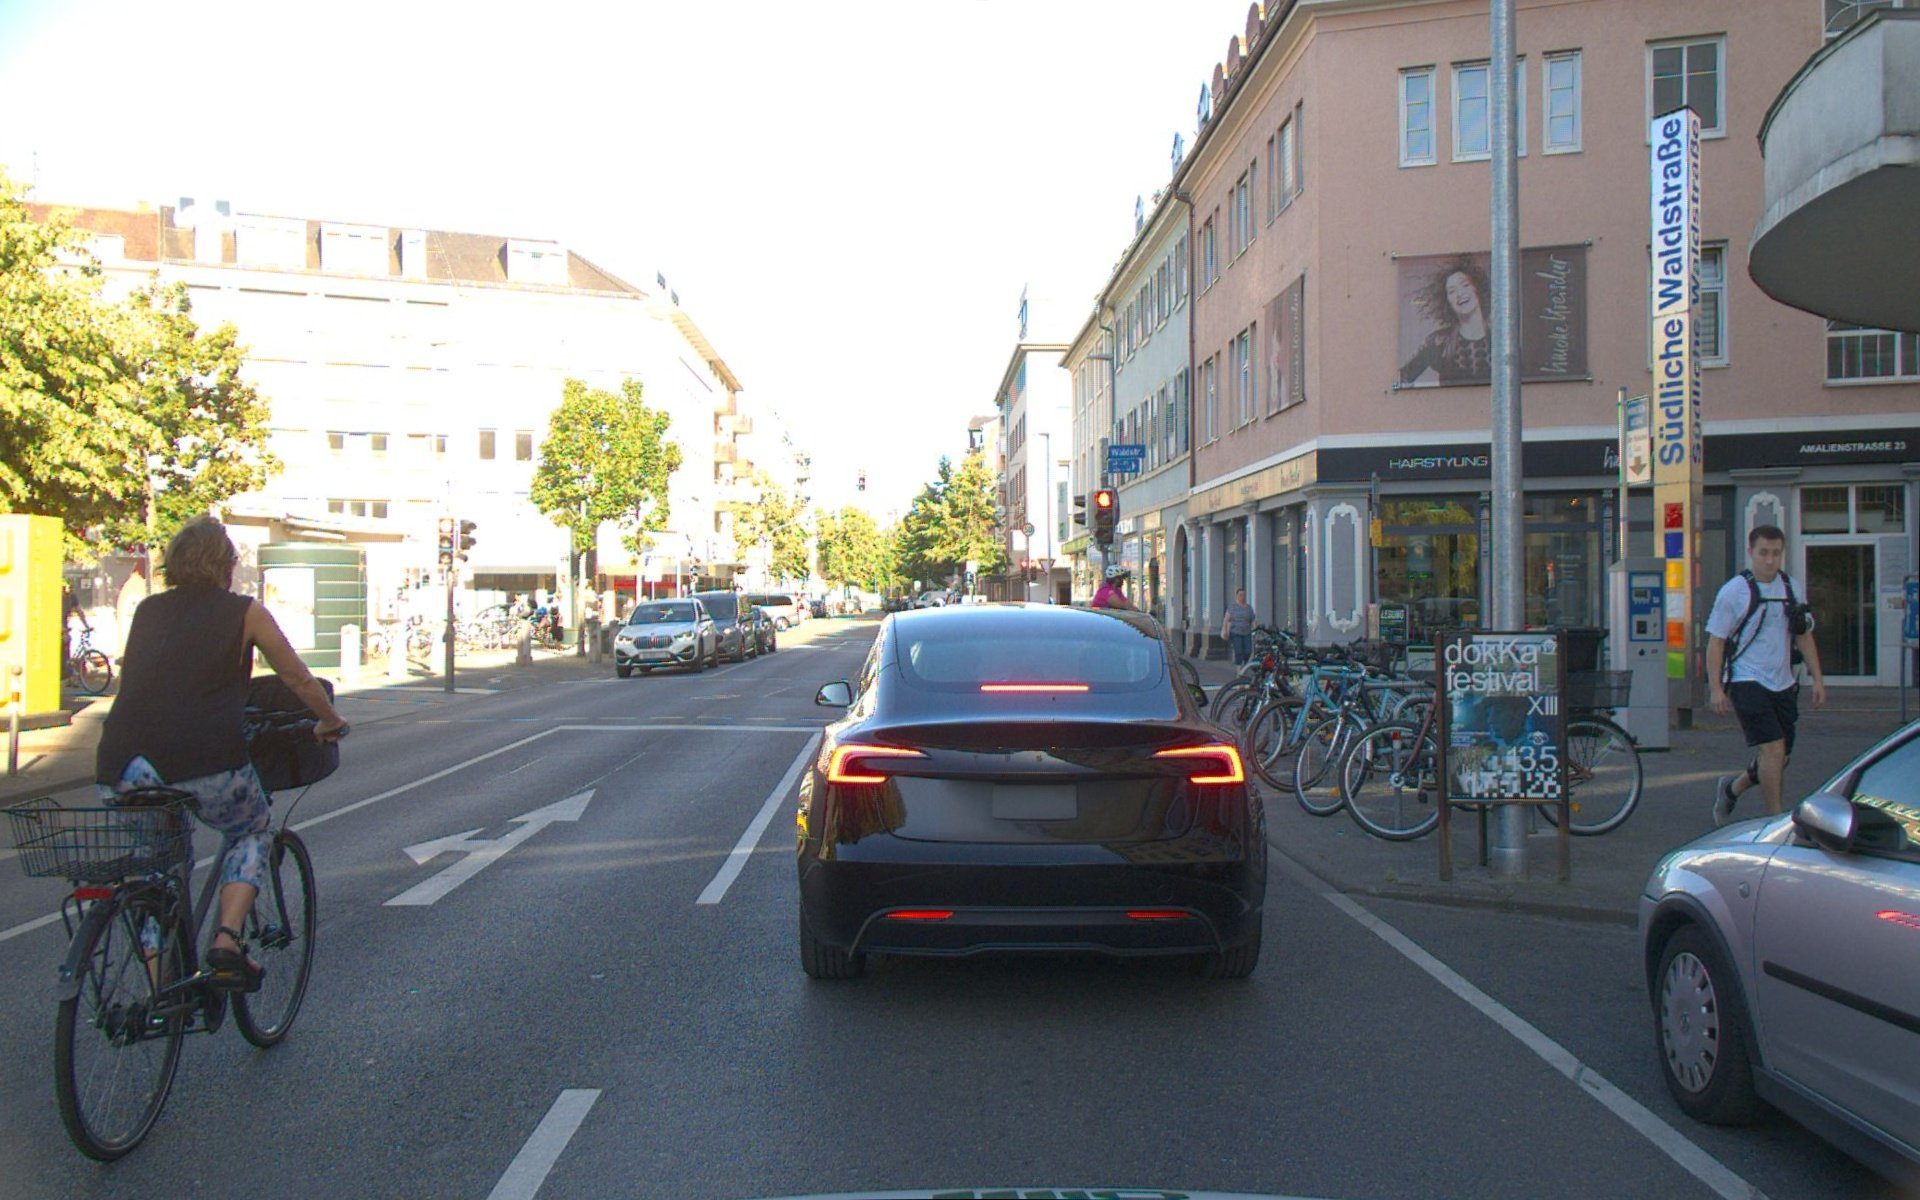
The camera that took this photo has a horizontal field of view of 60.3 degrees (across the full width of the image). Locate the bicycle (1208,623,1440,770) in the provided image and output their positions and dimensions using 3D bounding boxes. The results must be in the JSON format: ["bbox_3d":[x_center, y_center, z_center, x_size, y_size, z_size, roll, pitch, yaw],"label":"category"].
[{"bbox_3d":[2.984,0.780,13.649,1.776,1.172,0.653,0,0,0],"label":"bicycle"}]

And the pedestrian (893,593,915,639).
[{"bbox_3d":[-2.212,0.636,65.585,0.649,1.790,0.649,1,-1,-24],"label":"pedestrian"}]

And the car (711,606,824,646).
[{"bbox_3d":[-9.295,1.231,79.917,5.124,1.899,1.871,0,0,-23],"label":"car"}]

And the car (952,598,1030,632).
[{"bbox_3d":[1.734,0.801,91.867,3.909,1.819,2.043,0,0,18],"label":"car"}]

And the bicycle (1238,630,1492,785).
[{"bbox_3d":[3.055,0.802,12.576,1.776,1.121,0.653,0,0,0],"label":"bicycle"}]

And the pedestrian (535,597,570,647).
[{"bbox_3d":[-13.623,0.728,55.284,1.075,1.639,1.261,1,0,-16],"label":"pedestrian"}]

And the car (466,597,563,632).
[{"bbox_3d":[-19.979,0.640,74.146,4.062,1.557,1.541,0,0,-22],"label":"car"}]

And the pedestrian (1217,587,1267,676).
[{"bbox_3d":[5.109,0.563,29.999,0.773,1.576,0.724,1,-1,0],"label":"pedestrian"}]

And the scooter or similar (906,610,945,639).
[{"bbox_3d":[-1.379,0.971,66.146,1.317,1.154,0.803,1,0,-25],"label":"scooter or similar"}]

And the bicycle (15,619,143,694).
[{"bbox_3d":[-14.559,0.928,27.345,1.909,1.183,0.618,1,0,12],"label":"bicycle"}]

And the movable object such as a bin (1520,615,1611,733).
[{"bbox_3d":[6.048,0.728,16.551,0.623,1.122,0.728,-2,0,3],"label":"movable object such as a bin"}]

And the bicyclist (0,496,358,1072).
[{"bbox_3d":[-2.251,0.487,4.845,0.594,1.510,0.958,1,0,0],"label":"bicyclist"}]

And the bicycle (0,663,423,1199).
[{"bbox_3d":[-2.256,0.853,4.944,0.615,1.244,2.001,1,0,0],"label":"bicycle"}]

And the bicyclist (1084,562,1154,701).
[{"bbox_3d":[2.106,0.415,21.839,0.845,1.786,0.681,-2,-1,7],"label":"bicyclist"}]

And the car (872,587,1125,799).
[{"bbox_3d":[0.249,0.683,14.205,1.812,1.507,4.450,1,0,-1],"label":"car"}]

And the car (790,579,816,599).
[{"bbox_3d":[-17.019,-1.143,179.415,2.228,2.049,4.717,1,0,0],"label":"car"}]

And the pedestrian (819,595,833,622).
[{"bbox_3d":[-9.553,0.594,118.044,0.763,1.900,1.003,1,-1,-19],"label":"pedestrian"}]

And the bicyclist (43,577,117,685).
[{"bbox_3d":[-14.537,0.508,27.338,0.790,1.739,0.704,1,-1,12],"label":"bicyclist"}]

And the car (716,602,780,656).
[{"bbox_3d":[-6.331,0.850,49.701,1.431,1.455,3.605,-3,0,-1],"label":"car"}]

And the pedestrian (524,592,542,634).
[{"bbox_3d":[-16.258,0.493,62.931,0.614,1.550,0.577,1,-1,-14],"label":"pedestrian"}]

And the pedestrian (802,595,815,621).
[{"bbox_3d":[-10.981,0.577,119.977,0.685,1.900,0.904,1,-1,-22],"label":"pedestrian"}]

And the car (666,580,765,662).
[{"bbox_3d":[-6.226,0.503,42.574,1.906,1.981,4.819,0,0,-1],"label":"car"}]

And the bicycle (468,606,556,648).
[{"bbox_3d":[-14.057,0.847,51.926,2.491,1.273,0.942,1,0,-4],"label":"bicycle"}]

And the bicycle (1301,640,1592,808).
[{"bbox_3d":[3.256,0.819,11.172,1.776,1.078,0.653,0,0,0],"label":"bicycle"}]

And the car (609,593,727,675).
[{"bbox_3d":[-6.318,0.708,36.246,1.788,1.592,4.299,-4,0,-1],"label":"car"}]

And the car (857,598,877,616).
[{"bbox_3d":[-10.502,0.814,186.975,2.089,2.004,4.133,0,0,-1],"label":"car"}]

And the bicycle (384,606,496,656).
[{"bbox_3d":[-14.119,0.841,44.932,2.725,1.296,0.932,1,0,-4],"label":"bicycle"}]

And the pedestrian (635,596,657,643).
[{"bbox_3d":[-12.048,0.733,63.393,0.650,1.790,0.648,1,-1,-27],"label":"pedestrian"}]

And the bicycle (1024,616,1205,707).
[{"bbox_3d":[2.042,0.802,21.844,2.339,1.171,0.713,0,0,6],"label":"bicycle"}]

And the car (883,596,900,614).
[{"bbox_3d":[-7.531,0.547,182.061,1.854,1.845,3.923,1,0,-2],"label":"car"}]

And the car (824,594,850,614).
[{"bbox_3d":[-12.344,0.382,166.271,2.365,2.004,4.677,0,0,-1],"label":"car"}]

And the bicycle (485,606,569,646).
[{"bbox_3d":[-14.223,0.854,54.348,2.491,1.273,0.942,1,0,-4],"label":"bicycle"}]

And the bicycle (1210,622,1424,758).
[{"bbox_3d":[3.168,0.789,14.786,1.776,1.172,0.653,0,0,0],"label":"bicycle"}]

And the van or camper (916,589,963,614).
[{"bbox_3d":[-2.068,0.157,167.529,4.752,2.481,1.850,0,0,-1],"label":"van or camper"}]

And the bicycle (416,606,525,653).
[{"bbox_3d":[-13.995,0.828,47.333,2.818,1.292,0.942,1,0,-4],"label":"bicycle"}]

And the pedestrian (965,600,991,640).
[{"bbox_3d":[0.752,0.815,68.595,0.800,1.637,0.700,1,-1,-38],"label":"pedestrian"}]

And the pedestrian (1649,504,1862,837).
[{"bbox_3d":[4.671,0.394,9.775,0.792,1.855,0.983,1,0,2],"label":"pedestrian"}]

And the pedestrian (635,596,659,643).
[{"bbox_3d":[-11.878,0.734,62.753,0.830,1.790,0.704,1,-1,-15],"label":"pedestrian"}]

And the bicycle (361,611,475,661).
[{"bbox_3d":[-13.945,0.923,42.595,2.607,1.216,0.942,1,0,-4],"label":"bicycle"}]

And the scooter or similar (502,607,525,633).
[{"bbox_3d":[-16.939,0.767,62.752,0.774,0.974,0.462,1,-1,-14],"label":"scooter or similar"}]

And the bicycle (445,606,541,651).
[{"bbox_3d":[-14.005,0.843,49.652,2.609,1.281,0.942,1,0,-4],"label":"bicycle"}]

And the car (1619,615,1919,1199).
[{"bbox_3d":[2.928,0.779,3.547,1.551,1.451,3.579,1,0,-1],"label":"car"}]

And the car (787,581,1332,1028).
[{"bbox_3d":[0.306,0.698,7.781,1.812,1.472,4.450,1,0,-1],"label":"car"}]

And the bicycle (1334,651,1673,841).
[{"bbox_3d":[3.285,0.872,10.101,1.844,1.062,0.653,-1,0,0],"label":"bicycle"}]
